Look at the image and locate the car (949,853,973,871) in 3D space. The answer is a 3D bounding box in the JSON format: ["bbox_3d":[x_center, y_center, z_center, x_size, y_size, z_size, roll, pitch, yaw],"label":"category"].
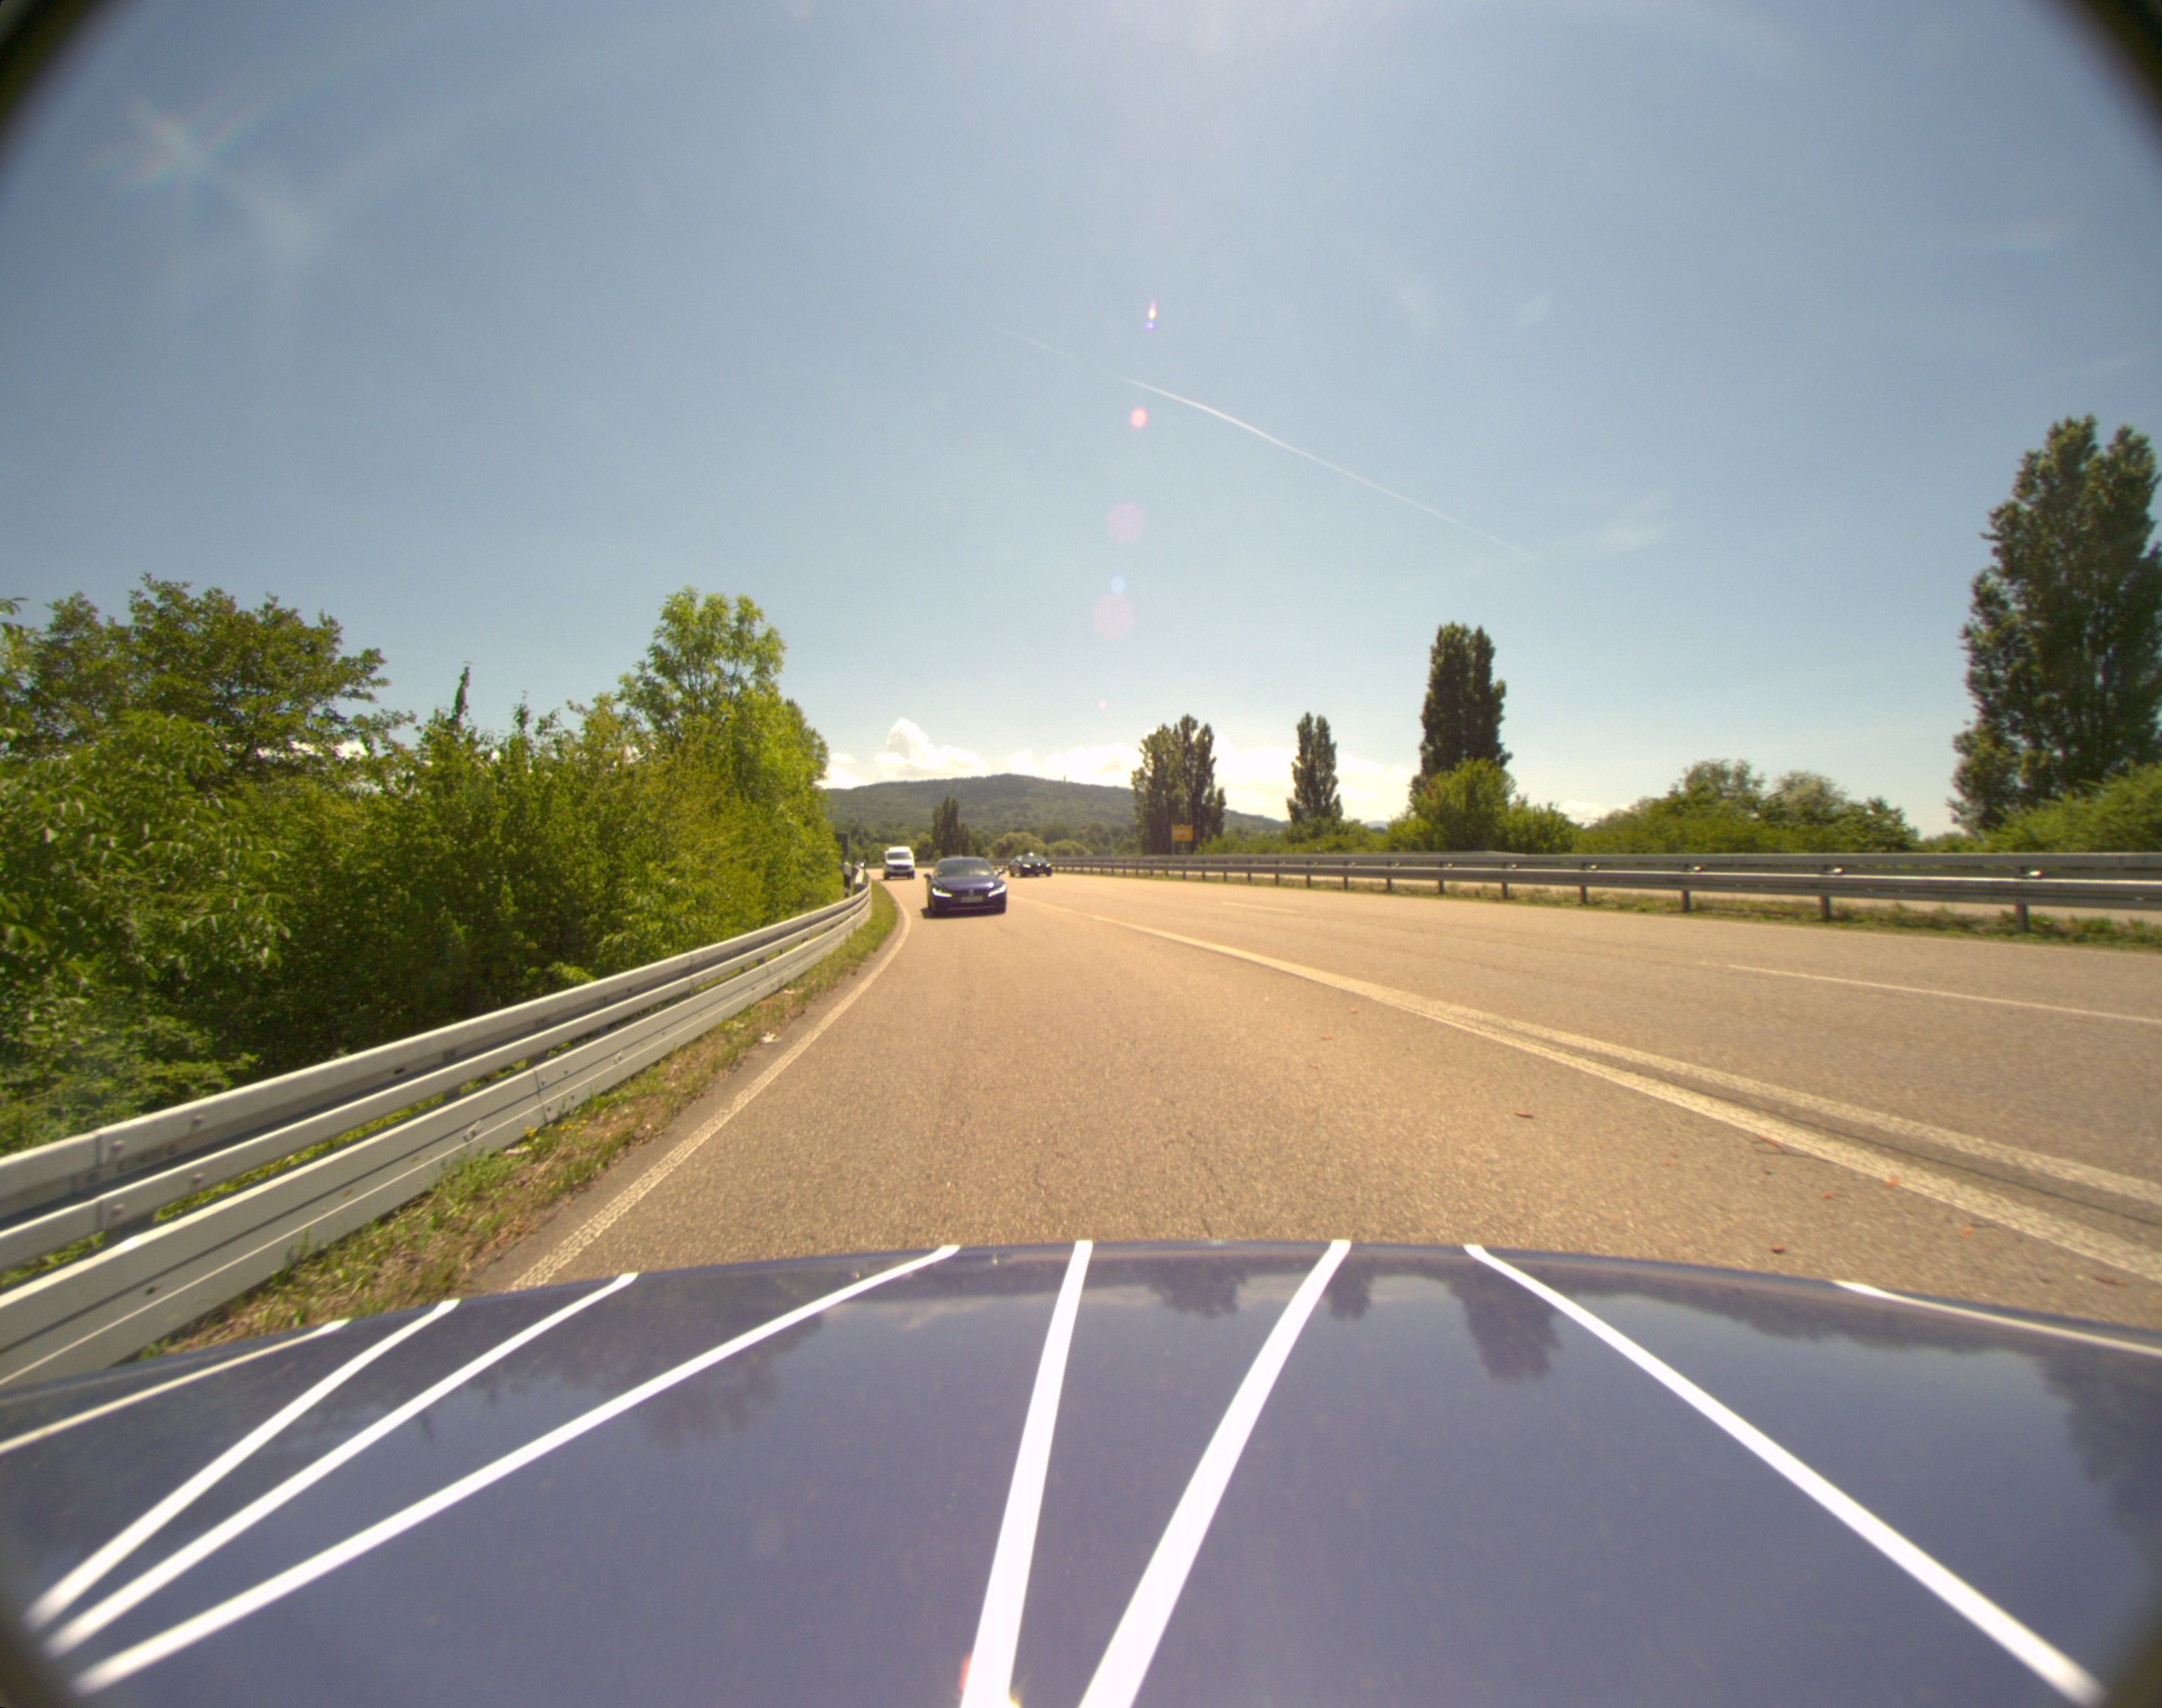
[{"bbox_3d":[-11.849,0.783,74.946,1.832,1.602,3.995,-4,0,-15],"label":"car"}]

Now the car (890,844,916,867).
[{"bbox_3d":[-16.236,0.102,69.229,2.001,1.939,4.638,-3,1,-15],"label":"car"}]

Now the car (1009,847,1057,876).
[{"bbox_3d":[-3.016,0.439,46.680,2.001,1.564,4.638,-3,1,-15],"label":"car"}]

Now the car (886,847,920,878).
[{"bbox_3d":[-12.111,0.546,51.544,2.001,1.939,4.638,-3,1,-15],"label":"car"}]

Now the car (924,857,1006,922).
[{"bbox_3d":[-3.118,0.835,20.080,1.844,1.422,4.529,-2,0,-10],"label":"car"}]
